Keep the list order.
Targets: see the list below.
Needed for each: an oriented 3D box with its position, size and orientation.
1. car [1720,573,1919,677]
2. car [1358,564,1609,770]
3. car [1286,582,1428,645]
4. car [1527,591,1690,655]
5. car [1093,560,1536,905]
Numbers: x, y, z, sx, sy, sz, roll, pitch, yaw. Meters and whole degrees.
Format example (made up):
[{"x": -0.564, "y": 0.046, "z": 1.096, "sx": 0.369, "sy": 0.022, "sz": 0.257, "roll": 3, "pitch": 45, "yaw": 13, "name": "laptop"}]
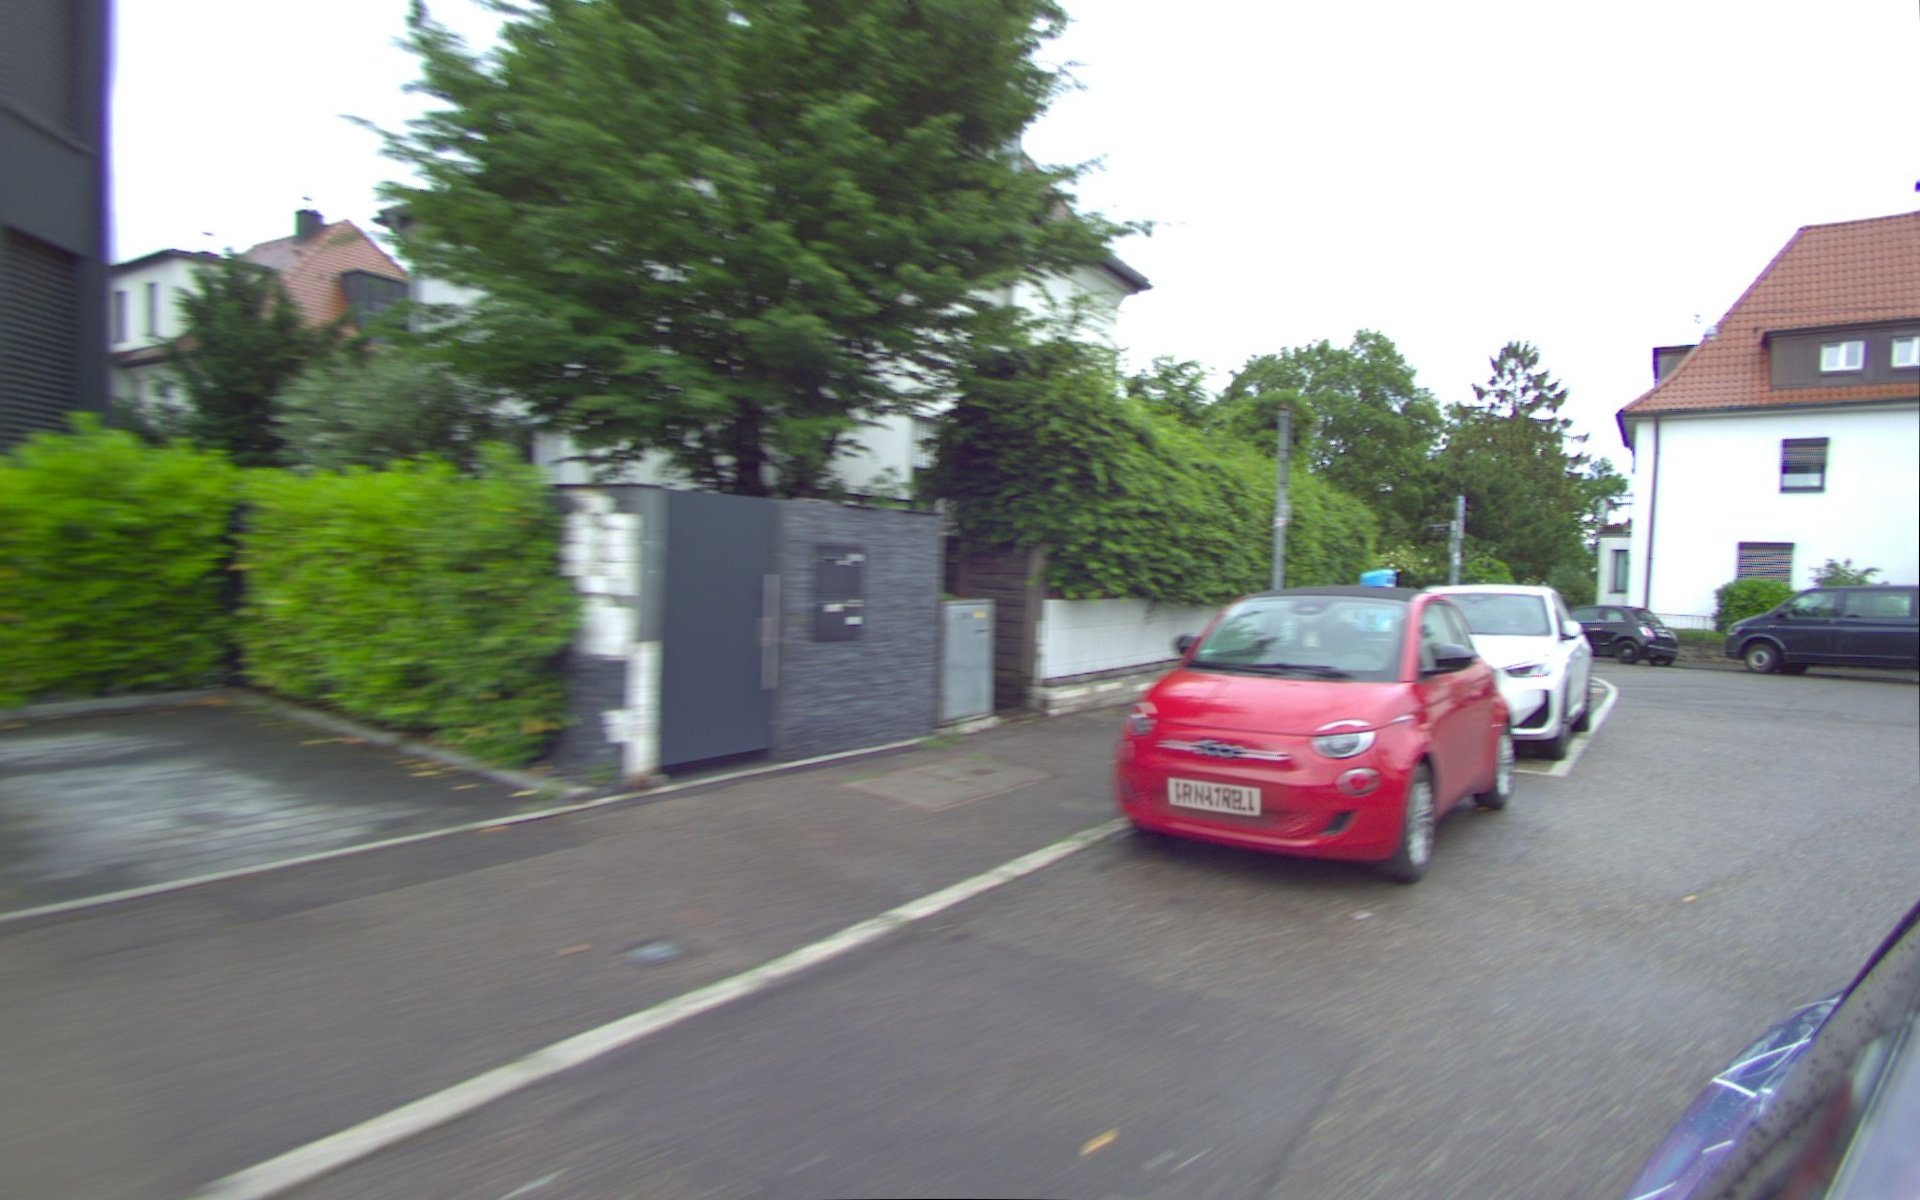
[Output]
[{"x": 19.252, "y": 0.481, "z": 21.206, "sx": 1.902, "sy": 1.971, "sz": 4.929, "roll": 0, "pitch": 3, "yaw": -31, "name": "car"}, {"x": 5.720, "y": 0.525, "z": 10.737, "sx": 1.739, "sy": 1.693, "sz": 4.588, "roll": 1, "pitch": 1, "yaw": 36, "name": "car"}, {"x": 12.814, "y": 0.392, "z": 32.769, "sx": 3.976, "sy": 1.883, "sz": 1.749, "roll": 1, "pitch": 1, "yaw": 36, "name": "car"}, {"x": 16.558, "y": 0.589, "z": 25.963, "sx": 1.296, "sy": 1.460, "sz": 3.270, "roll": 5, "pitch": -3, "yaw": -31, "name": "car"}, {"x": 2.442, "y": 0.575, "z": 6.436, "sx": 1.608, "sy": 1.557, "sz": 3.491, "roll": 1, "pitch": 1, "yaw": 38, "name": "car"}]
